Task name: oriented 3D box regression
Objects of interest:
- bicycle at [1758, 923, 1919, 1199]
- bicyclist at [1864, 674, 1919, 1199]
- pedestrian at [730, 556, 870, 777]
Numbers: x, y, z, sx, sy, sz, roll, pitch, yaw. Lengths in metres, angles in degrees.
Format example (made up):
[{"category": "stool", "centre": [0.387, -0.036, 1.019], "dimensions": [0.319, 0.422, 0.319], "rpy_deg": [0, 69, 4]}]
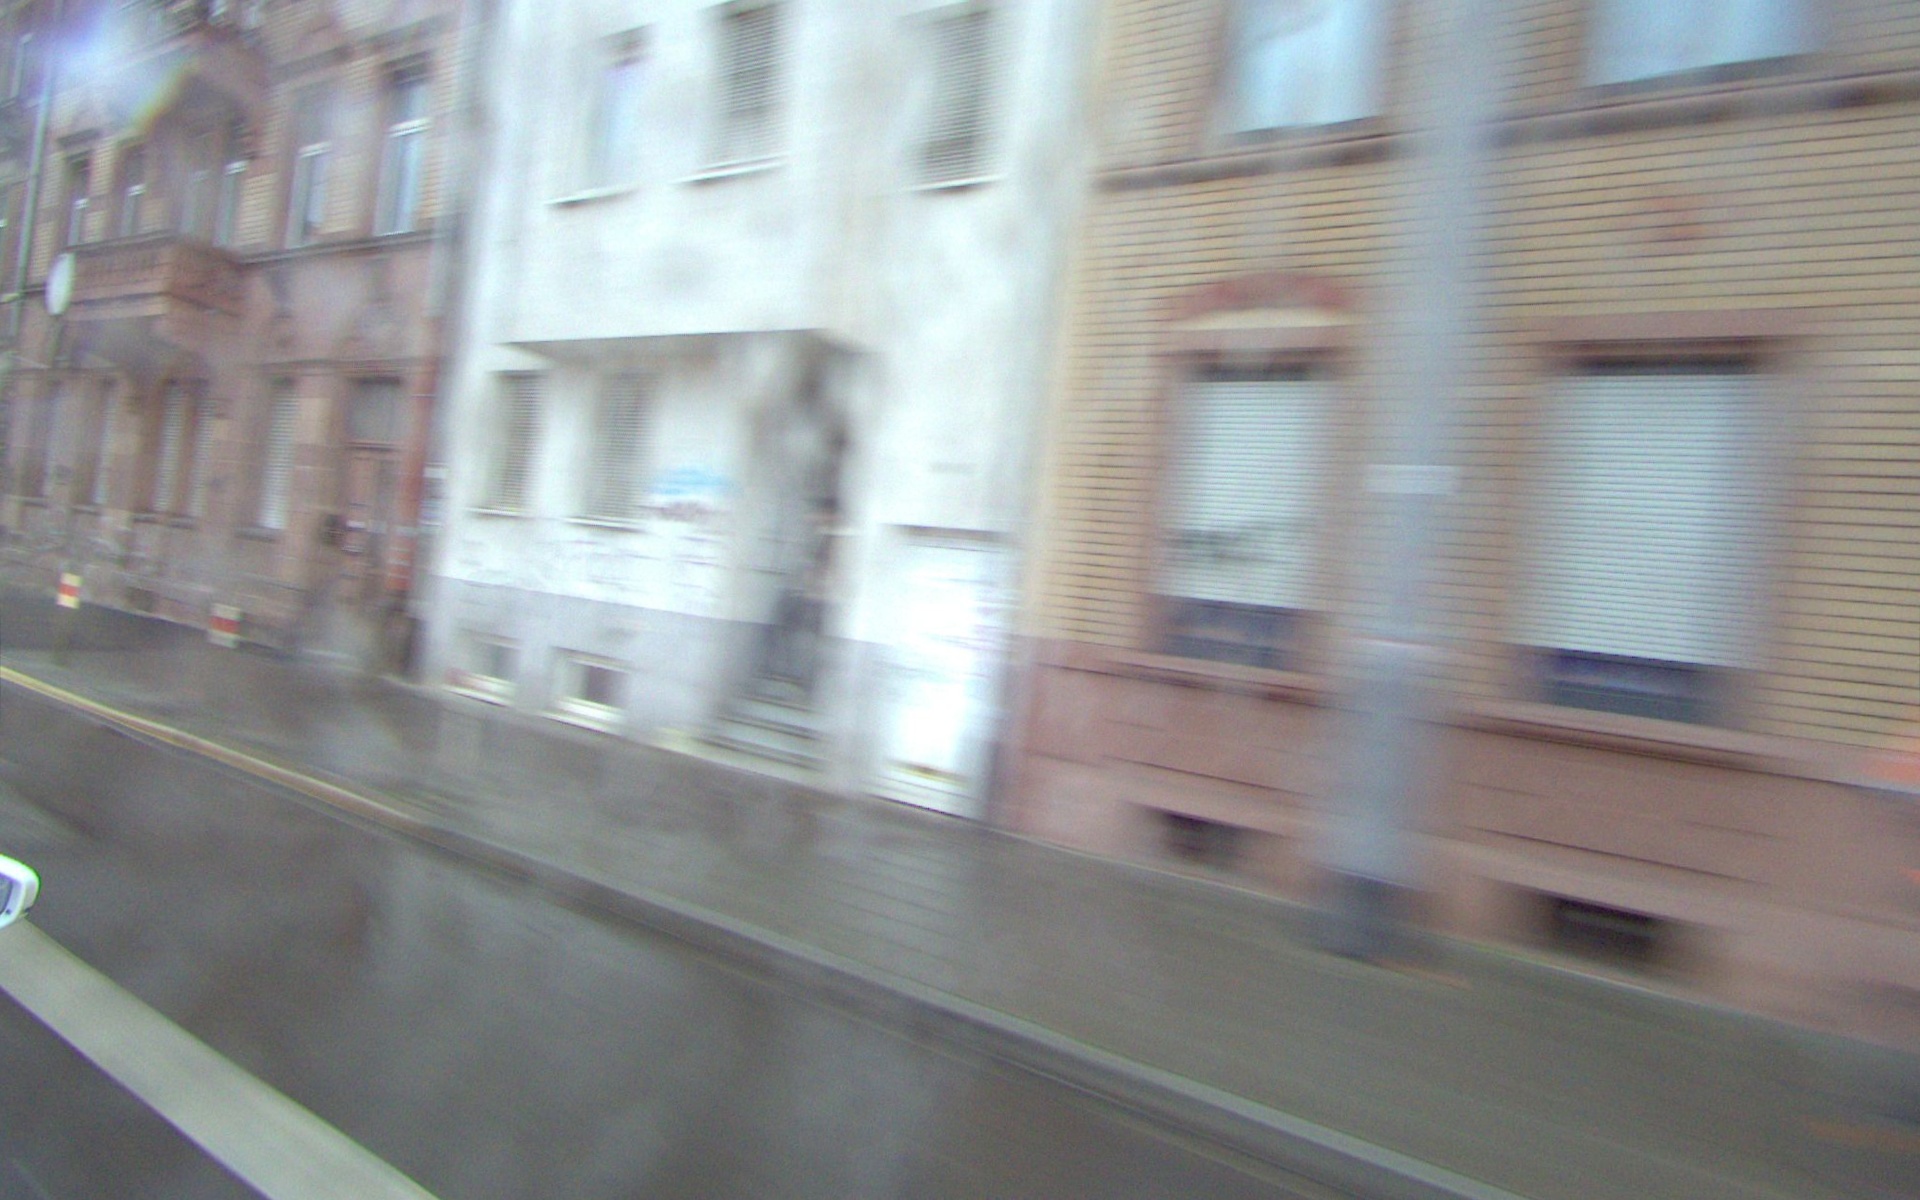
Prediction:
[{"category": "bicycle", "centre": [3.491, 1.578, 2.812], "dimensions": [1.829, 0.770, 0.609], "rpy_deg": [6, -1, 29]}, {"category": "bicyclist", "centre": [3.514, 0.975, 2.858], "dimensions": [1.092, 1.903, 0.746], "rpy_deg": [7, 0, 28]}, {"category": "pedestrian", "centre": [-1.378, 0.570, 8.725], "dimensions": [0.662, 1.765, 0.777], "rpy_deg": [7, 0, 31]}]
